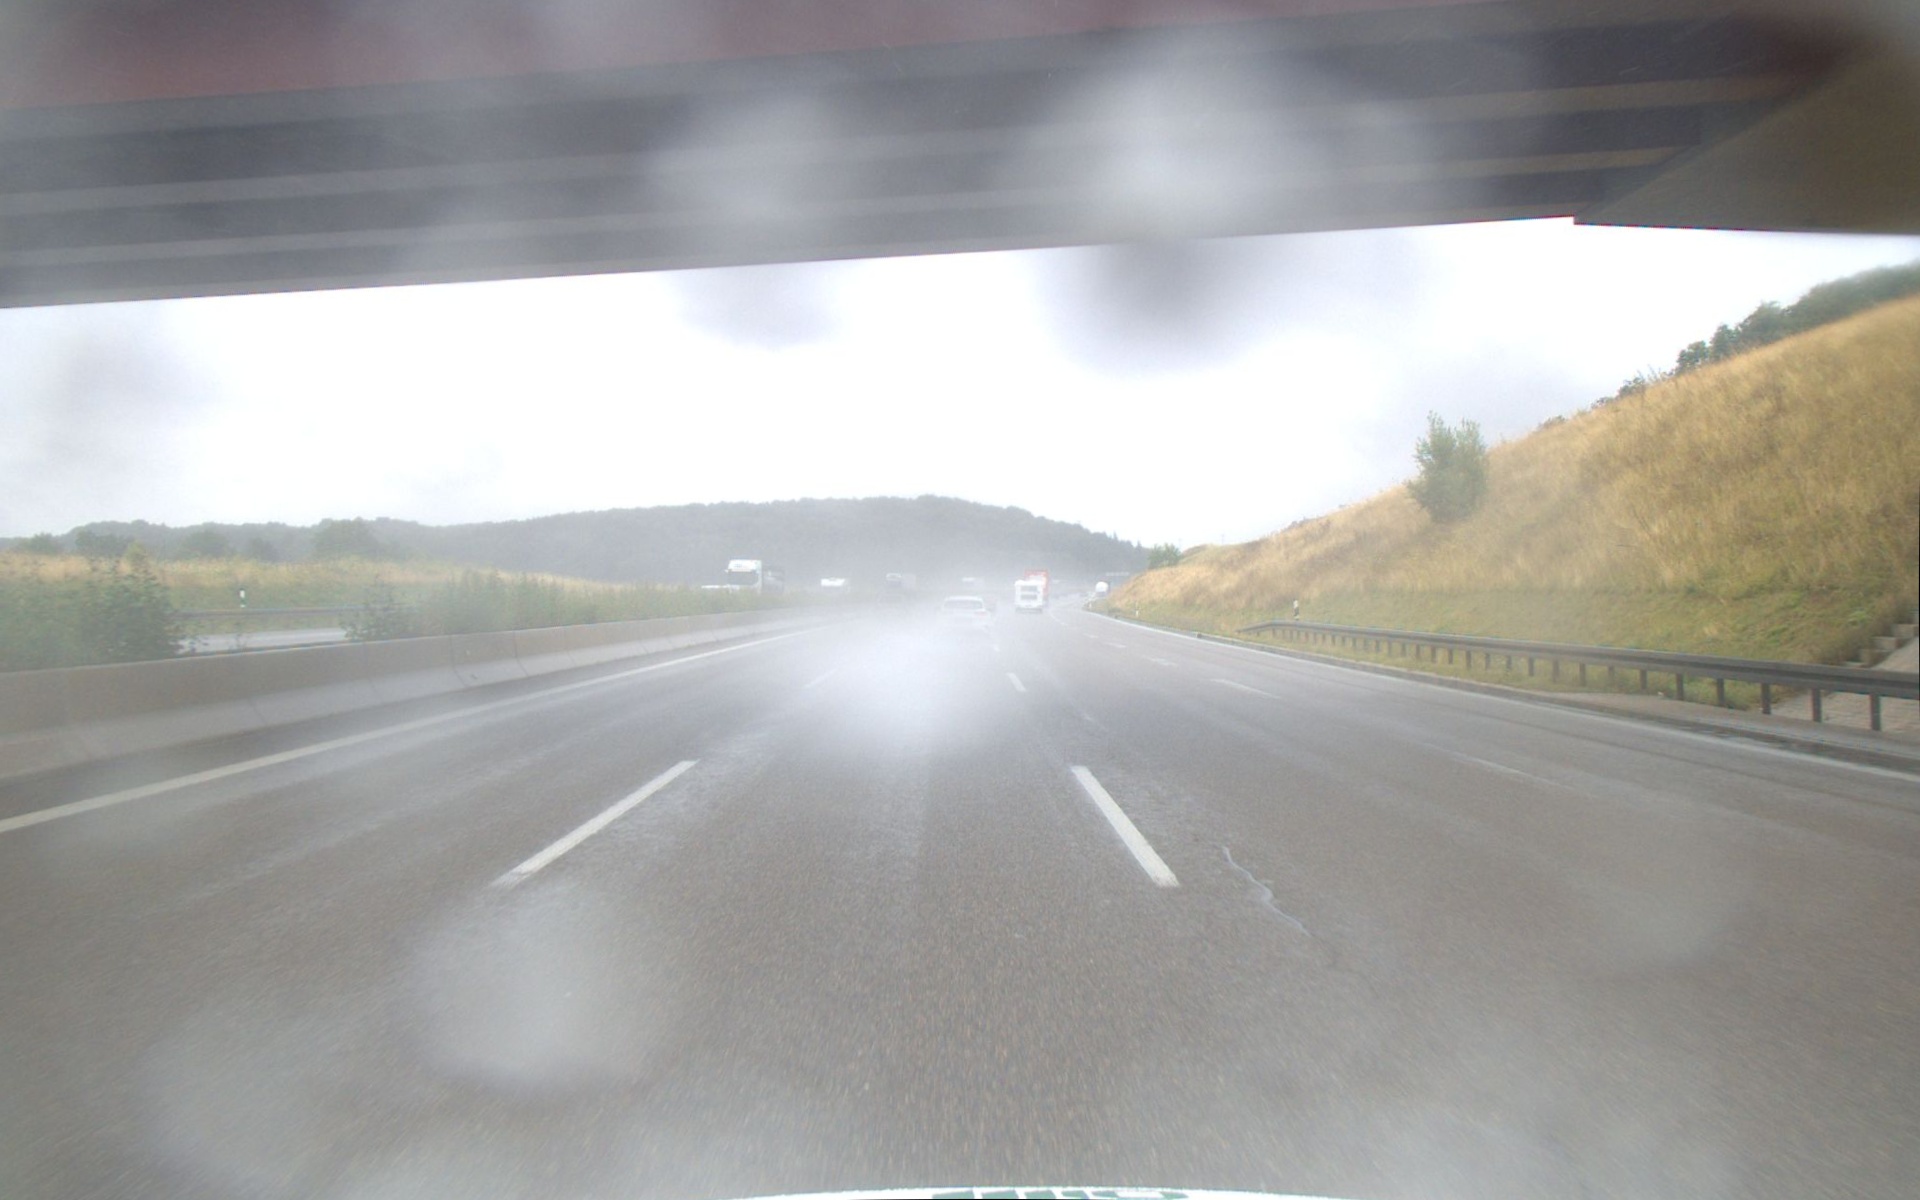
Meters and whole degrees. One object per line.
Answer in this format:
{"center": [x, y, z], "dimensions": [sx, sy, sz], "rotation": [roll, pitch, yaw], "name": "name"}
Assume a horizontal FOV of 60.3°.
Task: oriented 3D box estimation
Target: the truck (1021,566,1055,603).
{"center": [8.479, -1.751, 181.840], "dimensions": [3.454, 3.808, 11.429], "rotation": [1, 1, 1], "name": "truck"}

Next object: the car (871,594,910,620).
{"center": [-3.372, 0.371, 79.468], "dimensions": [1.788, 1.177, 4.209], "rotation": [1, -1, -4], "name": "car"}

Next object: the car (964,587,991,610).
{"center": [1.273, -0.116, 121.569], "dimensions": [1.952, 1.646, 4.000], "rotation": [1, 0, 0], "name": "car"}

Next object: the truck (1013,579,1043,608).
{"center": [5.465, -0.531, 132.414], "dimensions": [2.358, 2.291, 4.694], "rotation": [0, 0, 2], "name": "truck"}

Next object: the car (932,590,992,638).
{"center": [0.038, 0.455, 54.132], "dimensions": [1.830, 1.488, 3.998], "rotation": [1, 0, -2], "name": "car"}
